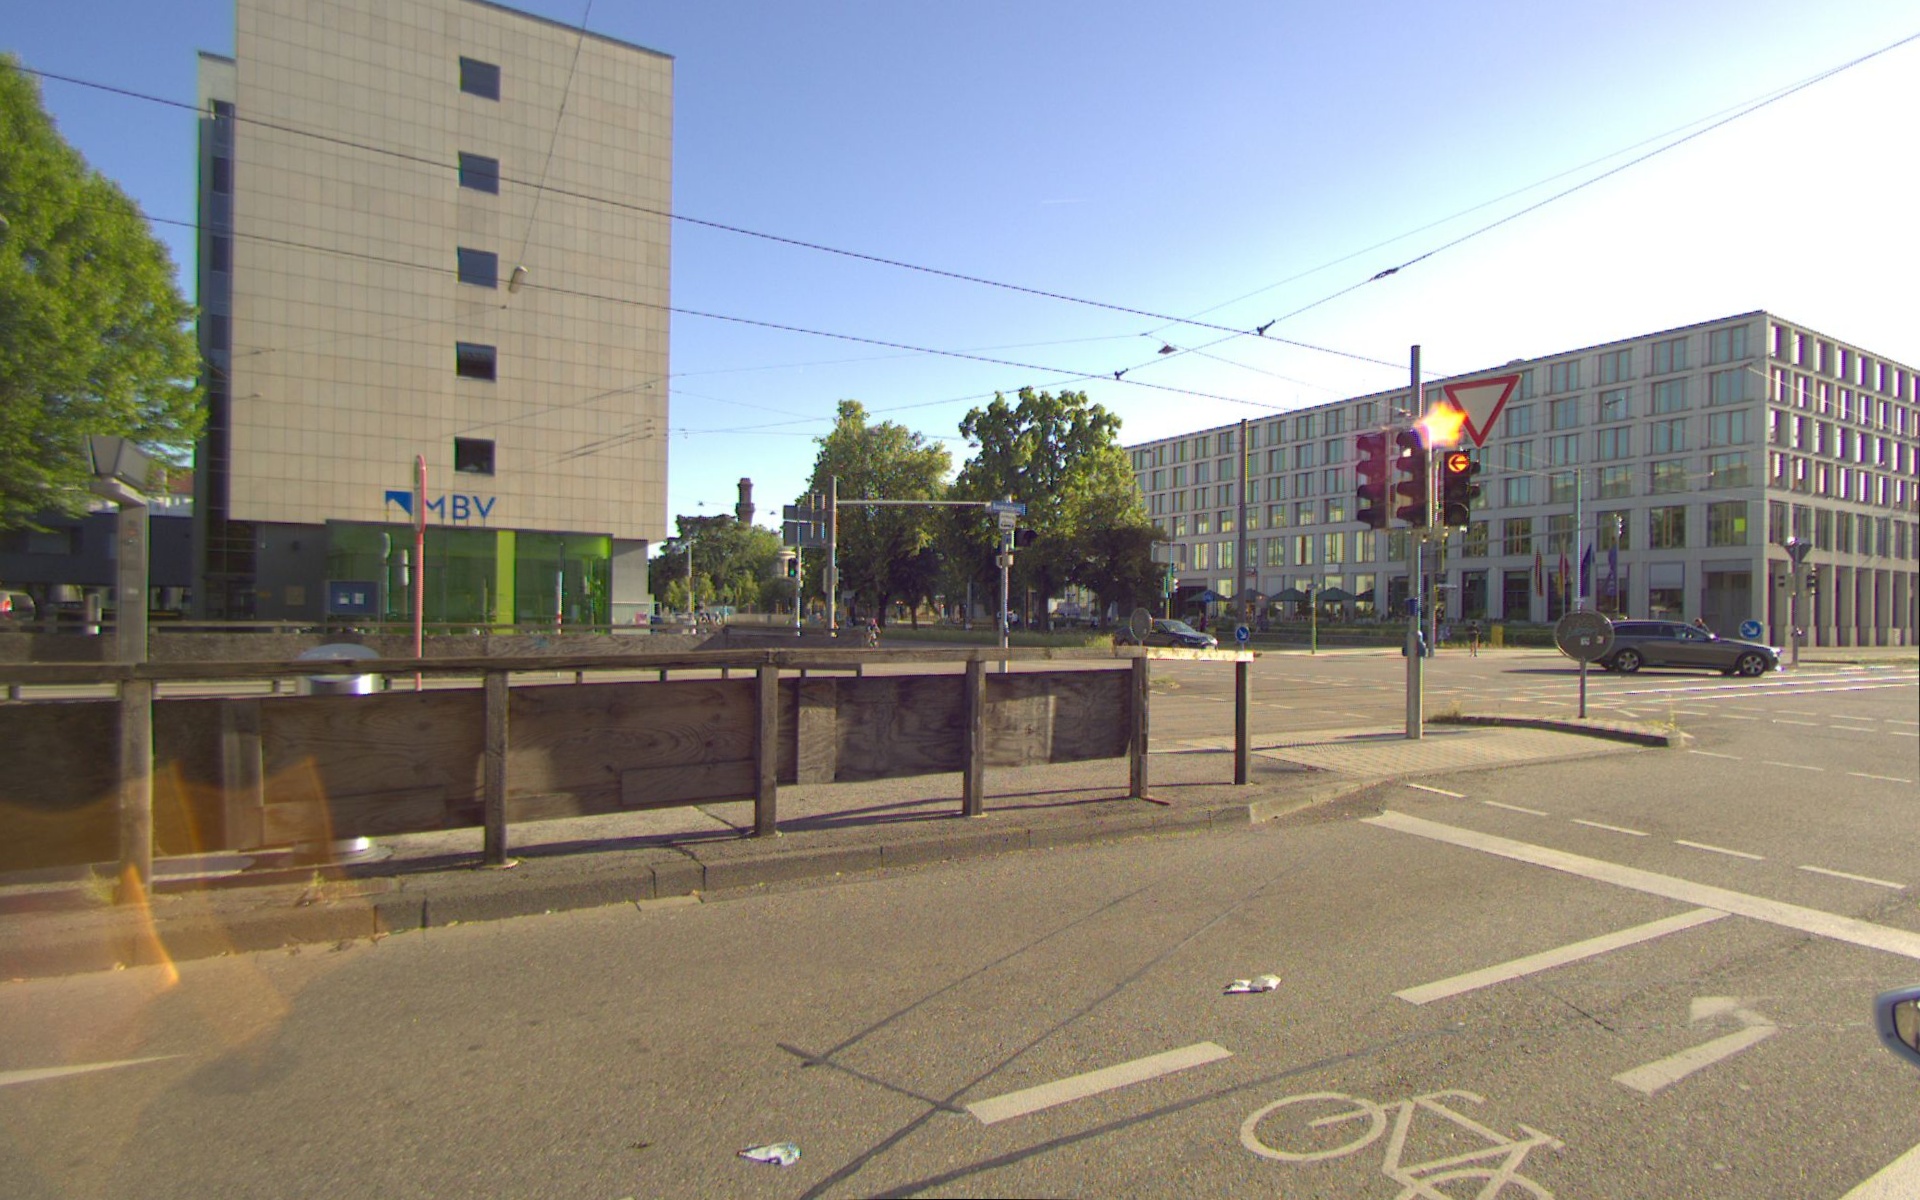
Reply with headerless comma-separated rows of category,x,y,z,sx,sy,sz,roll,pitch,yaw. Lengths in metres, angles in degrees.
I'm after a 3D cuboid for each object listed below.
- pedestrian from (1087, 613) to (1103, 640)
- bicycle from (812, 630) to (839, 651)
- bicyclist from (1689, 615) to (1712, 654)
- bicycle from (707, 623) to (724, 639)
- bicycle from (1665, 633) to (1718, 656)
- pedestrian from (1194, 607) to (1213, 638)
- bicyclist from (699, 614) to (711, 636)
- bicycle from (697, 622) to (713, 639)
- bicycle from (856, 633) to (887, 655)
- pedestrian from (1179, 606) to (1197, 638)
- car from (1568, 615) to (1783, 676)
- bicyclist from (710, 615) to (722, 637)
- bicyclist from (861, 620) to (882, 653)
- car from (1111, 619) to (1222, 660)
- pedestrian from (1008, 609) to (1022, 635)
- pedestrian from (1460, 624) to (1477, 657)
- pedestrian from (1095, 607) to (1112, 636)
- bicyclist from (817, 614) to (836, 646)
pedestrian,9.731,1.927,72.488,0.868,1.925,0.710,2,0,-40
bicycle,-6.556,1.975,49.003,0.554,0.947,1.846,1,-1,-34
bicyclist,31.548,1.468,42.775,0.765,1.610,0.758,0,-1,38
bicycle,-17.343,2.188,71.226,0.616,1.148,1.869,1,-1,-31
bicycle,31.300,1.886,43.011,1.833,0.947,0.760,0,-1,37
pedestrian,15.513,1.446,64.089,0.862,1.925,0.714,2,0,-23
bicyclist,-17.804,1.750,70.089,0.647,1.544,0.615,1,-1,-32
bicycle,-17.804,2.145,70.056,0.574,1.148,1.776,1,-1,-31
bicycle,-3.983,1.963,45.160,0.639,0.947,1.732,1,-1,-34
pedestrian,15.067,1.436,66.356,0.812,2.040,0.841,2,0,-20
car,20.394,1.260,28.904,4.714,1.586,1.898,0,-1,22
bicyclist,-17.249,1.825,71.090,0.602,1.544,0.709,1,-1,-32
bicyclist,-3.999,1.639,45.181,0.611,1.470,0.793,1,-1,-34
car,7.952,1.495,38.989,1.647,1.474,4.393,1,-2,-32
pedestrian,4.460,1.795,81.403,0.813,2.040,0.840,2,0,-25
pedestrian,25.195,2.008,49.771,0.582,1.610,0.774,0,-1,37
pedestrian,10.442,1.558,73.143,0.818,2.040,0.835,2,0,-40
bicyclist,-6.512,1.480,48.957,0.600,1.544,0.758,1,-1,-34
